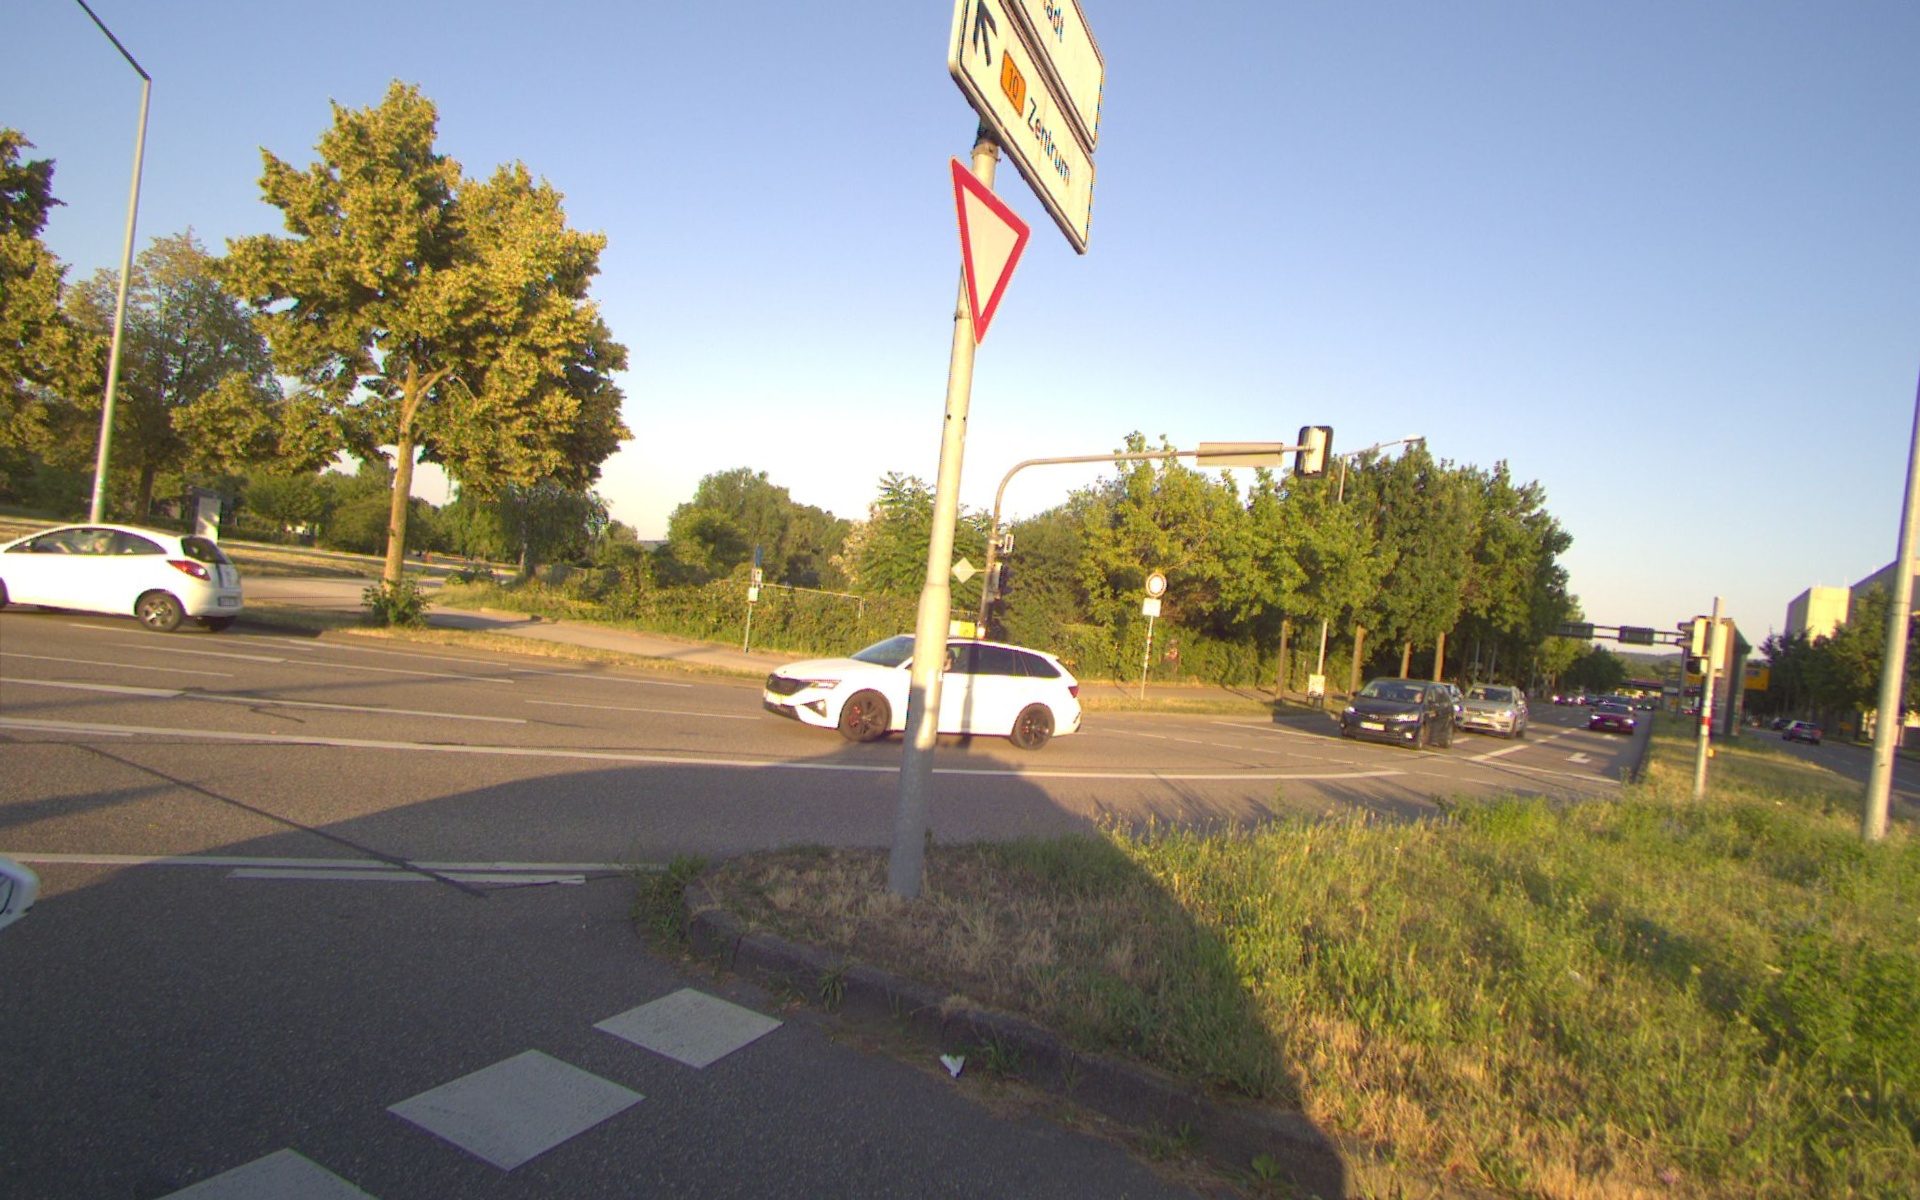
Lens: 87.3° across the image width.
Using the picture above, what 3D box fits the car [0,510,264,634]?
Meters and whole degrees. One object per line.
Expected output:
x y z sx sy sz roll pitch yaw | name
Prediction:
-12.962 -0.432 15.300 3.430 1.460 1.551 7 -1 -12 | car

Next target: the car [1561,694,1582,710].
68.308 11.406 112.367 1.594 1.536 3.707 5 -2 35 | car

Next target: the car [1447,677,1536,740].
18.366 3.753 34.650 1.893 1.775 4.907 6 -2 36 | car

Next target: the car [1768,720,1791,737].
93.504 14.649 114.838 1.725 1.506 4.121 7 -1 37 | car

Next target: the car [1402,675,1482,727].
19.536 4.117 40.676 1.884 1.730 4.927 7 -1 36 | car

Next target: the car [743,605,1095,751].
-0.481 1.111 13.866 4.505 1.466 1.712 8 0 -33 | car

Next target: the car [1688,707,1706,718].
123.362 18.756 168.383 1.967 1.488 3.991 7 0 33 | car

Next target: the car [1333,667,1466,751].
10.701 2.641 24.314 1.777 1.652 4.440 6 -2 38 | car

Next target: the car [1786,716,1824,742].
58.327 8.909 69.416 1.727 1.441 4.114 8 0 42 | car

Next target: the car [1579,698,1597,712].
78.901 13.234 126.301 1.594 1.536 3.707 5 -2 35 | car

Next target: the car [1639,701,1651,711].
122.272 18.963 179.570 1.594 1.471 3.707 5 -2 35 | car

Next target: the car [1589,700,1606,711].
90.928 15.101 143.488 1.847 1.324 4.128 5 -2 35 | car

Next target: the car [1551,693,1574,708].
60.265 10.067 100.564 1.594 1.324 3.707 5 -2 35 | car

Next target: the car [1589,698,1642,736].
32.359 5.776 49.631 1.817 1.477 4.568 7 -1 36 | car
